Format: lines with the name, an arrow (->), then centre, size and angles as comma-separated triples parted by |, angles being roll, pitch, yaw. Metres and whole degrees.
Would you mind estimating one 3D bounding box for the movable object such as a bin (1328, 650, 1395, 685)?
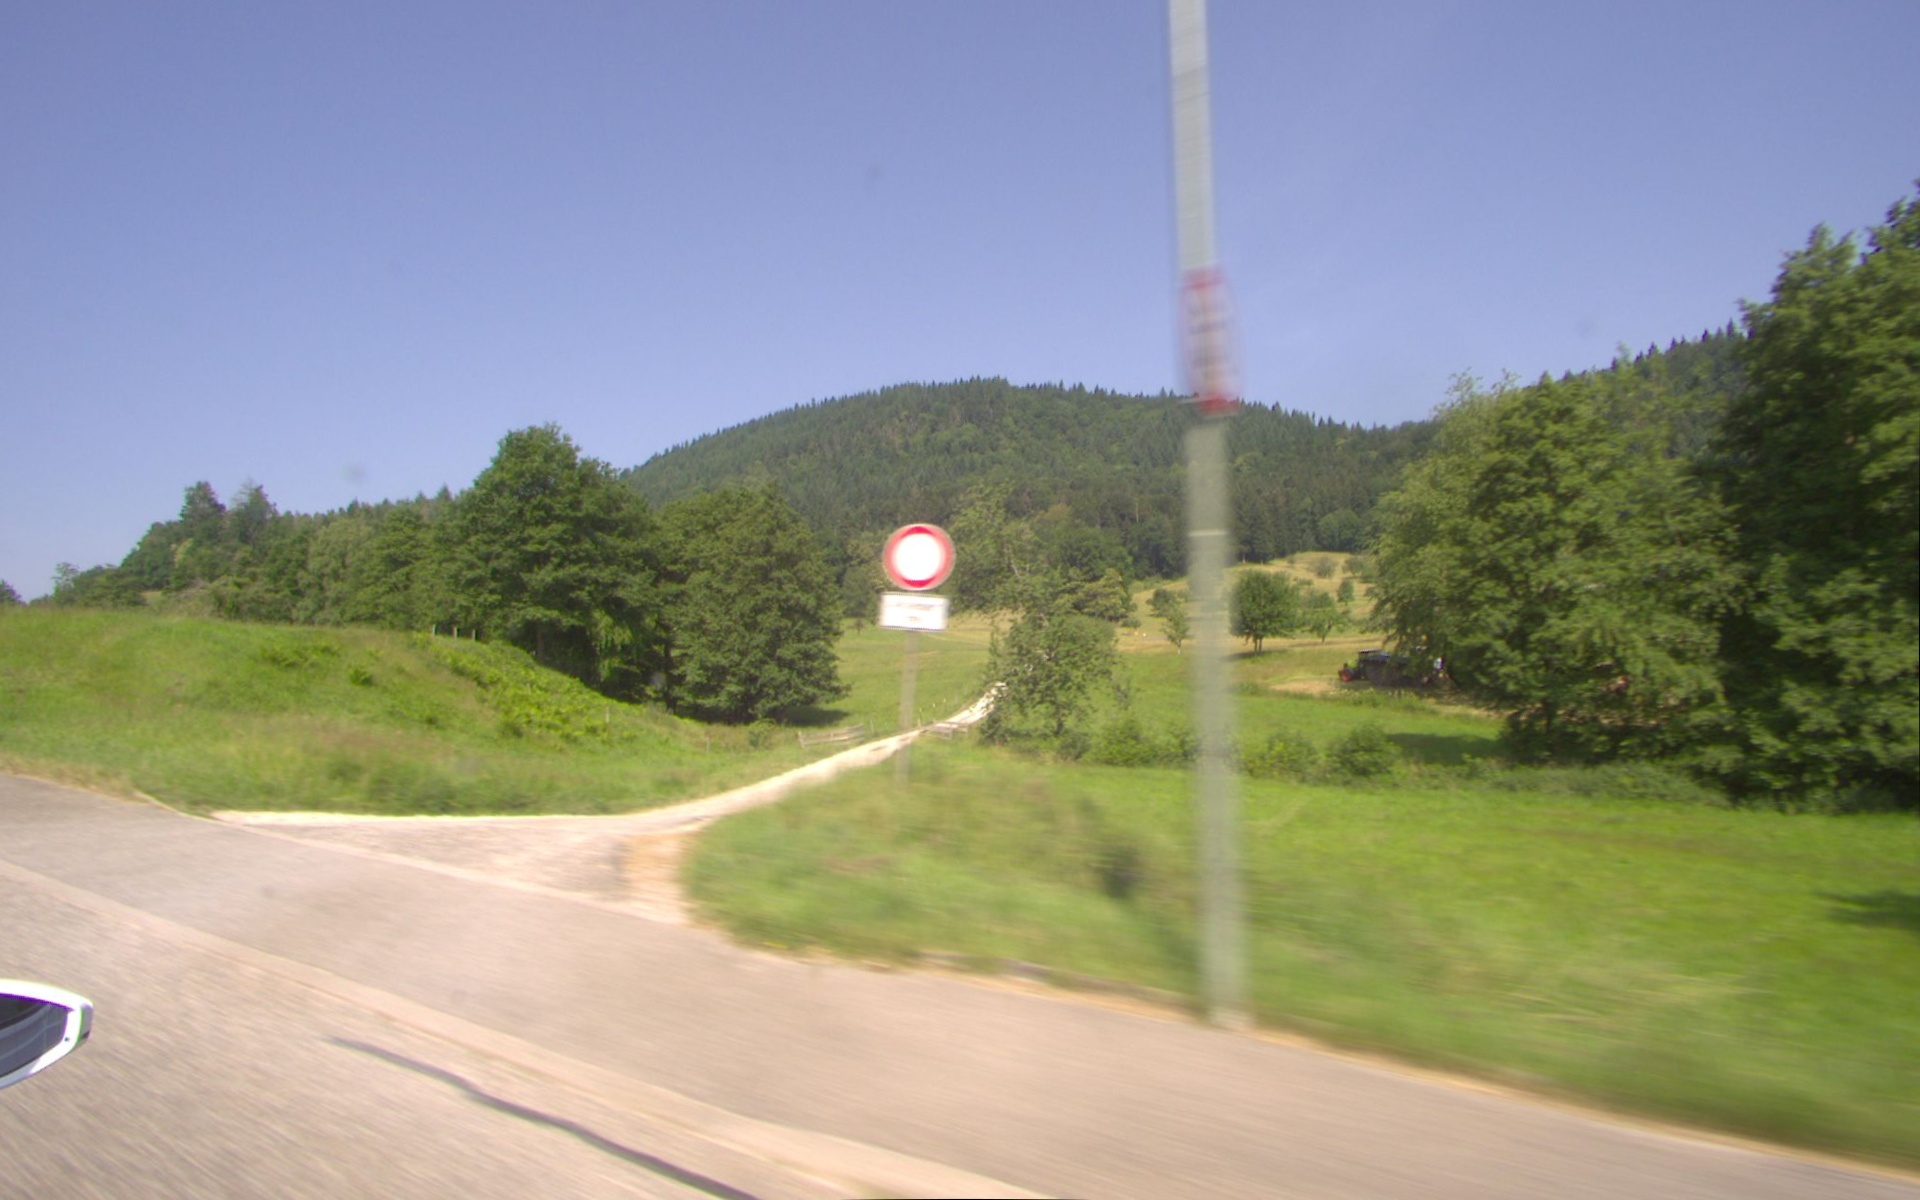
movable object such as a bin -> 31.091, 5.252, 77.610 | 4.486, 2.631, 1.988 | -3, -3, 37
